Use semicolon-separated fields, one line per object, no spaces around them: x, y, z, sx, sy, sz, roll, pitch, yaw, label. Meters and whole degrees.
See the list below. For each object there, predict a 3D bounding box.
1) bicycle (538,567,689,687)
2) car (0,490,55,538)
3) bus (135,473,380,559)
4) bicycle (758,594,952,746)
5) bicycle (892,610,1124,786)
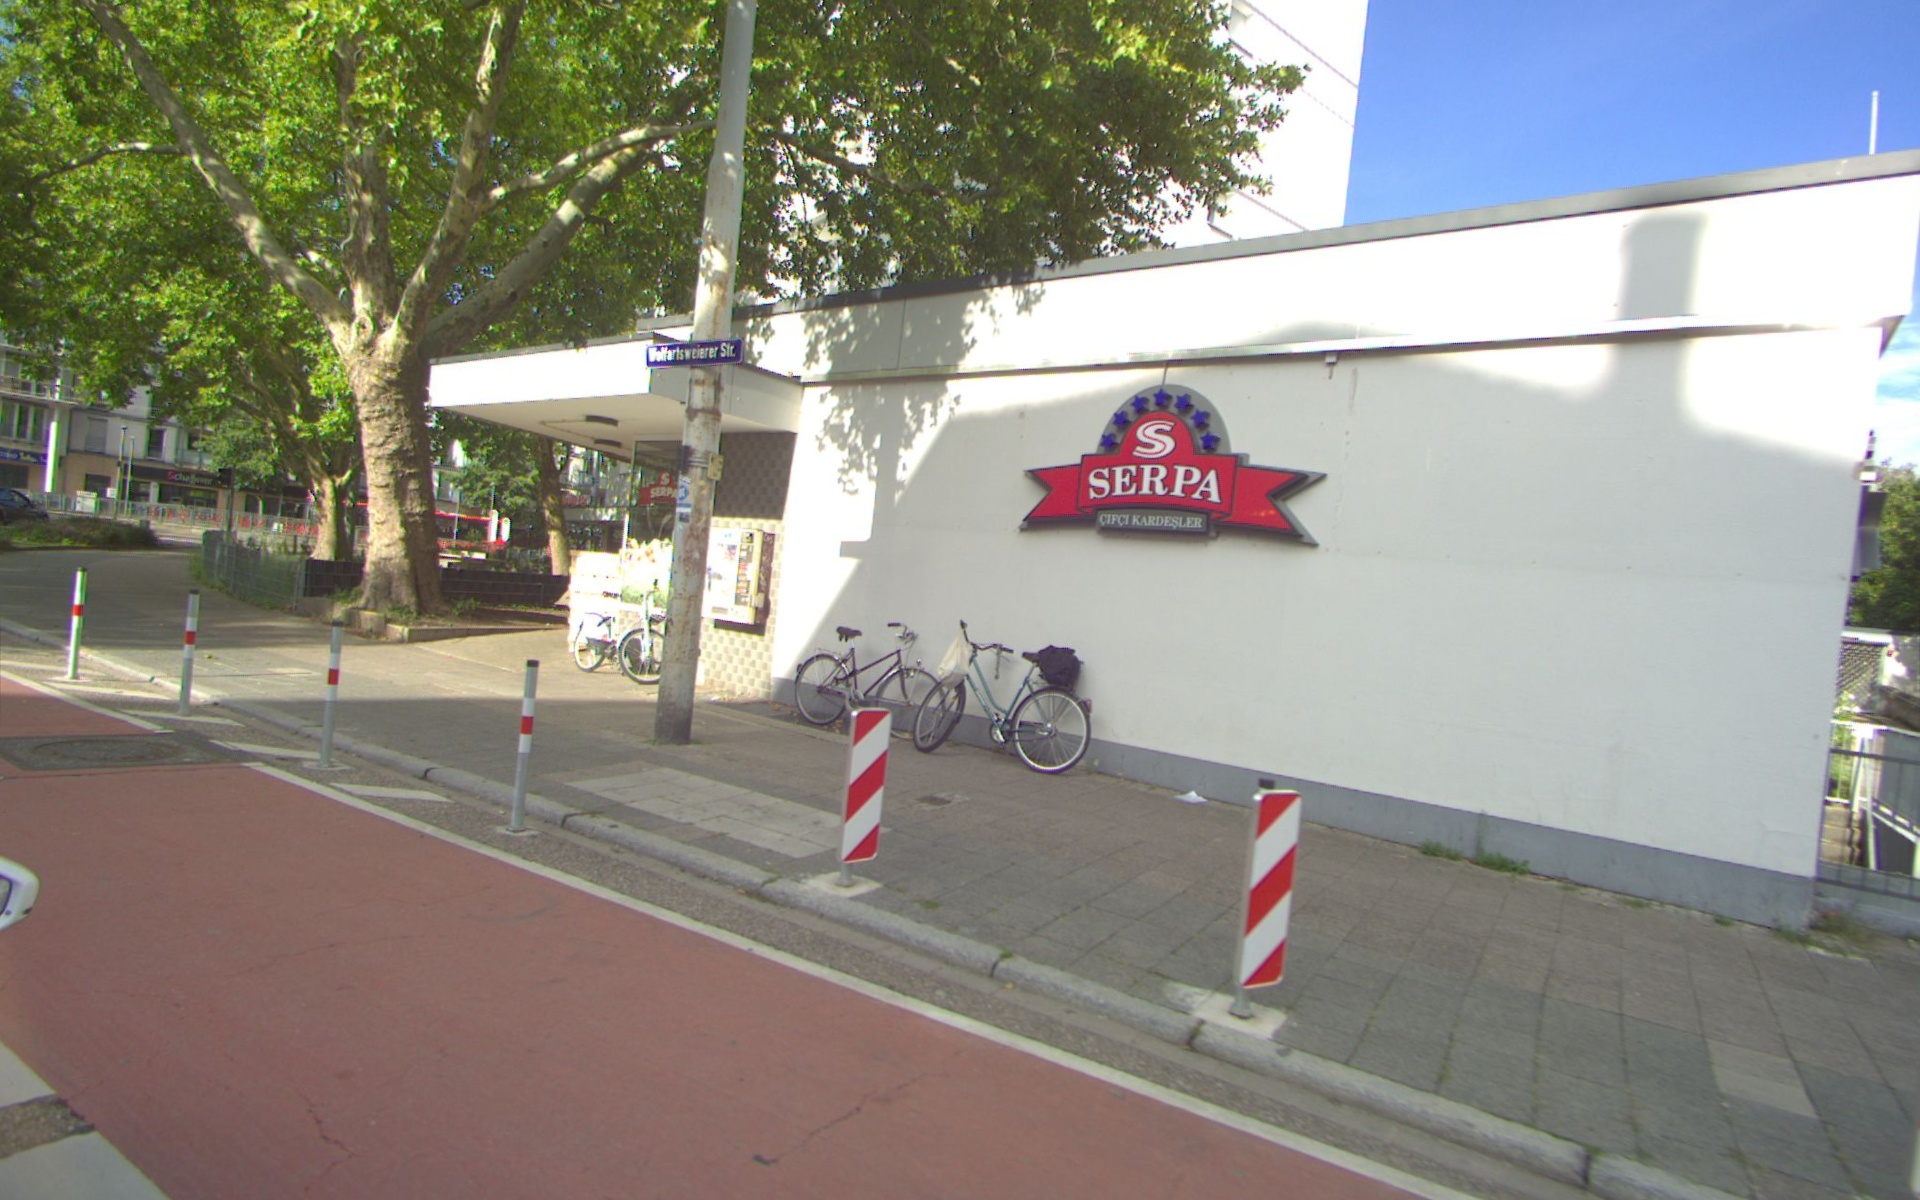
-4.118;0.287;11.911;1.786;1.223;0.711;6;4;34;bicycle
-31.918;-2.946;32.823;1.729;1.431;3.990;7;-1;-13;car
-43.738;-5.103;63.148;12.201;3.593;2.996;6;1;-39;bus
-1.045;0.652;9.825;1.743;1.221;0.711;7;1;35;bicycle
0.392;0.792;8.752;1.787;1.222;0.768;7;2;35;bicycle
